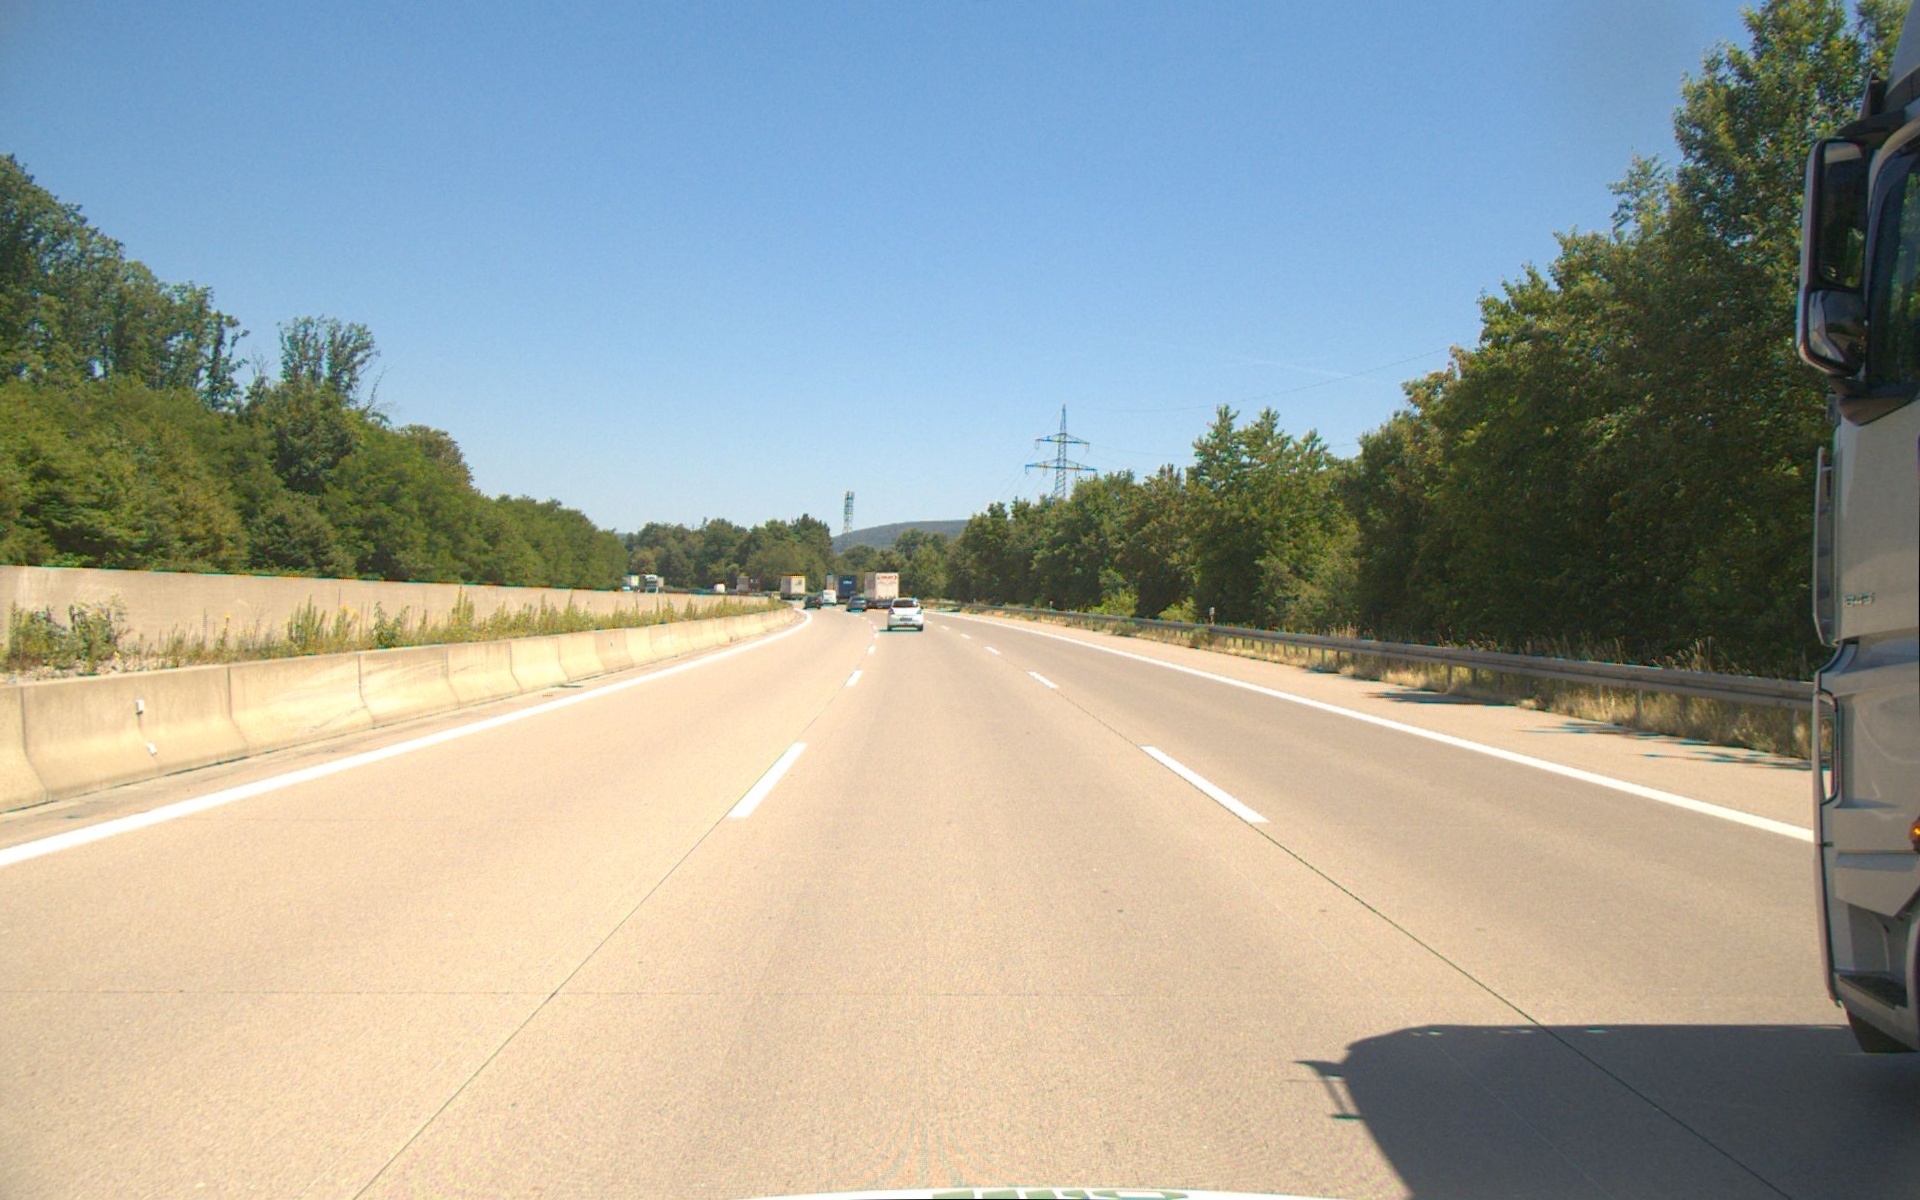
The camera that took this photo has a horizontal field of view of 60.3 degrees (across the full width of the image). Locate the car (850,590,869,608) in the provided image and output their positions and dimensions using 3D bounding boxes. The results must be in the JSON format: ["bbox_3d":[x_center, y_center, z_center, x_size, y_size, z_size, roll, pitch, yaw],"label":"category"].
[{"bbox_3d":[-9.809,-0.105,161.403,1.580,1.755,3.566,0,0,-8],"label":"car"}]

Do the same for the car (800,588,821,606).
[{"bbox_3d":[-16.437,-0.343,182.083,1.985,1.730,3.993,5,0,-8],"label":"car"}]

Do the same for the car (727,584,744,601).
[{"bbox_3d":[-26.500,-0.840,195.122,1.626,1.956,4.004,1,0,-3],"label":"car"}]

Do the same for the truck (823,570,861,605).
[{"bbox_3d":[-16.845,-1.727,235.108,3.836,4.824,14.015,0,0,-10],"label":"truck"}]

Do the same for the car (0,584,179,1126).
[{"bbox_3d":[-3.535,0.718,2.853,1.852,1.499,5.602,0,0,-2],"label":"car"}]

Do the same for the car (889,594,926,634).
[{"bbox_3d":[-2.483,0.644,78.422,1.609,1.690,3.359,4,0,-2],"label":"car"}]

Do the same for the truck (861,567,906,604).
[{"bbox_3d":[-8.691,-1.599,185.924,3.748,3.957,14.128,0,0,-8],"label":"truck"}]

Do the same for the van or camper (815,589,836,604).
[{"bbox_3d":[-17.482,-0.462,214.939,1.840,1.870,3.977,0,0,-20],"label":"van or camper"}]
